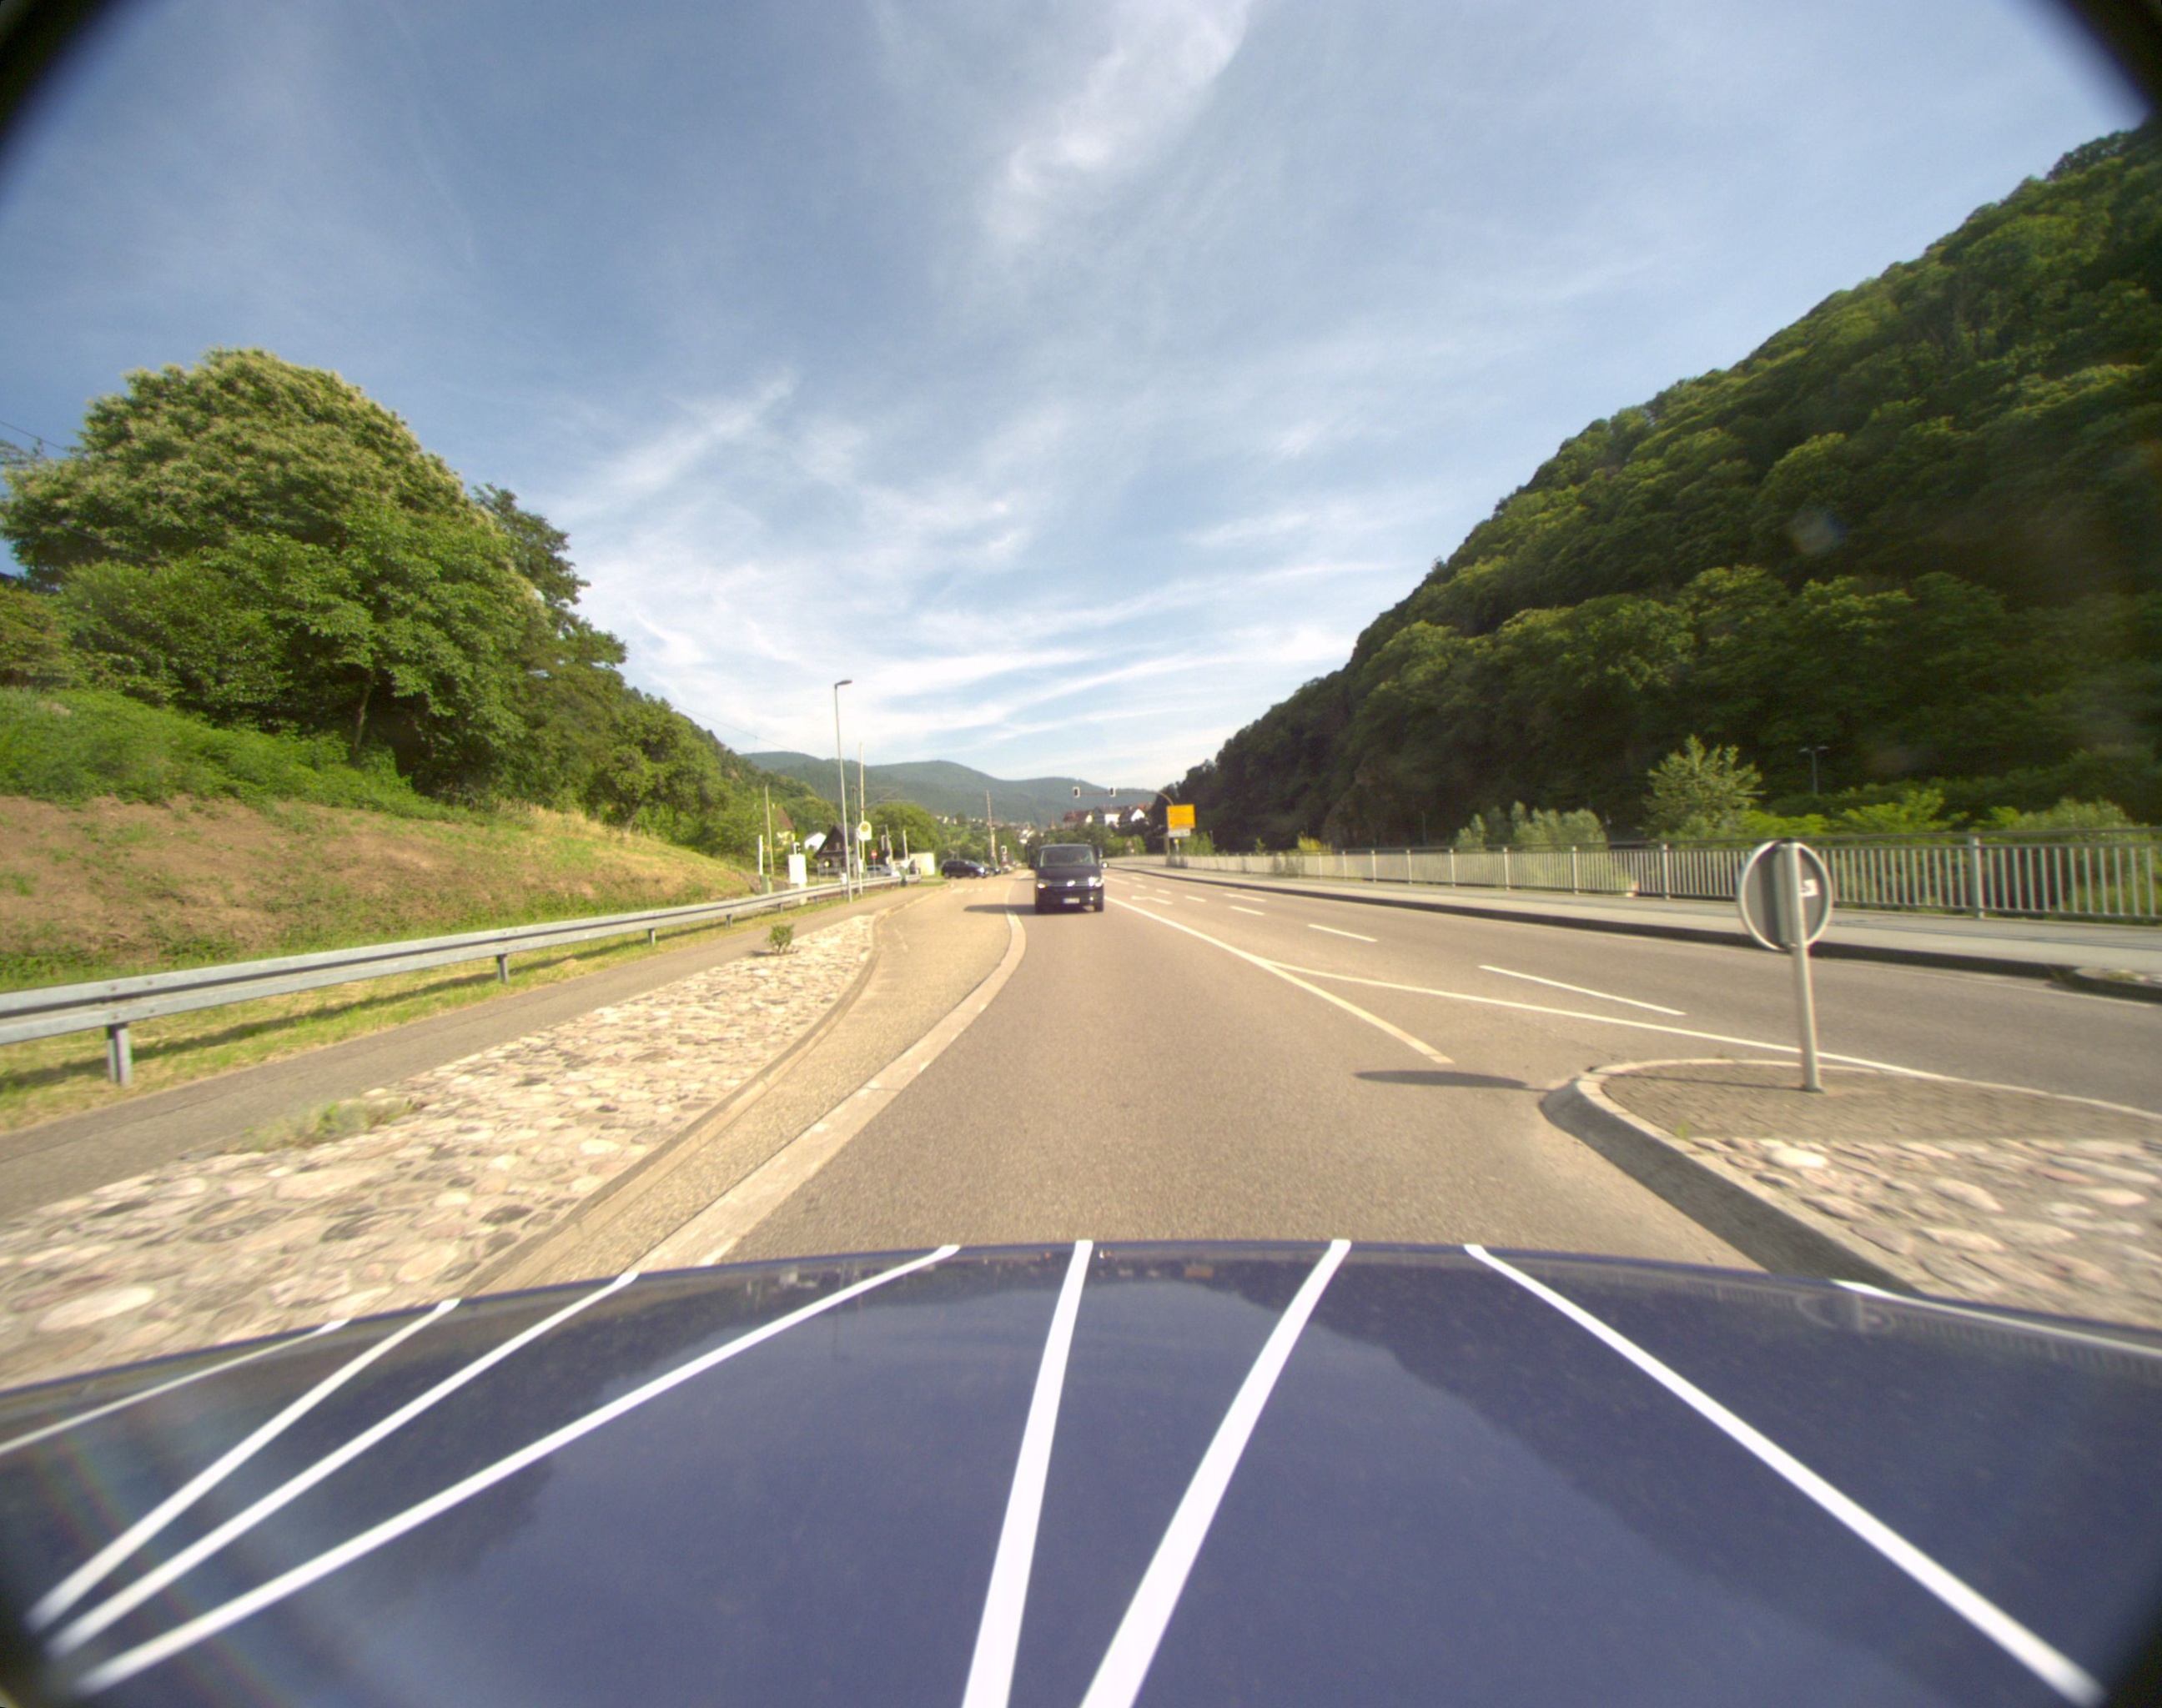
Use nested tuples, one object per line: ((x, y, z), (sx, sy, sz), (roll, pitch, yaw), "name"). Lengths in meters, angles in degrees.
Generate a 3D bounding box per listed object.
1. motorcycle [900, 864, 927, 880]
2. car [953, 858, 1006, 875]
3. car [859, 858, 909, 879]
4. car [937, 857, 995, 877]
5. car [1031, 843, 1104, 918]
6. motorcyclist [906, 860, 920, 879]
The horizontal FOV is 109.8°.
((-14.825, 1.614, 67.361), (2.096, 1.247, 0.800), (-4, 0, 15), "motorcycle")
((-9.594, 1.164, 71.808), (4.738, 1.461, 1.841), (-2, 1, -1), "car")
((-18.663, 1.392, 72.054), (4.120, 1.677, 1.836), (-4, 0, 10), "car")
((-9.913, 1.128, 65.442), (4.730, 1.649, 1.934), (-2, -2, 28), "car")
((-0.405, 0.712, 22.418), (1.865, 1.936, 4.637), (-2, 0, -1), "car")
((-14.883, 1.340, 67.384), (0.908, 1.587, 0.766), (-4, 1, 14), "motorcyclist")
